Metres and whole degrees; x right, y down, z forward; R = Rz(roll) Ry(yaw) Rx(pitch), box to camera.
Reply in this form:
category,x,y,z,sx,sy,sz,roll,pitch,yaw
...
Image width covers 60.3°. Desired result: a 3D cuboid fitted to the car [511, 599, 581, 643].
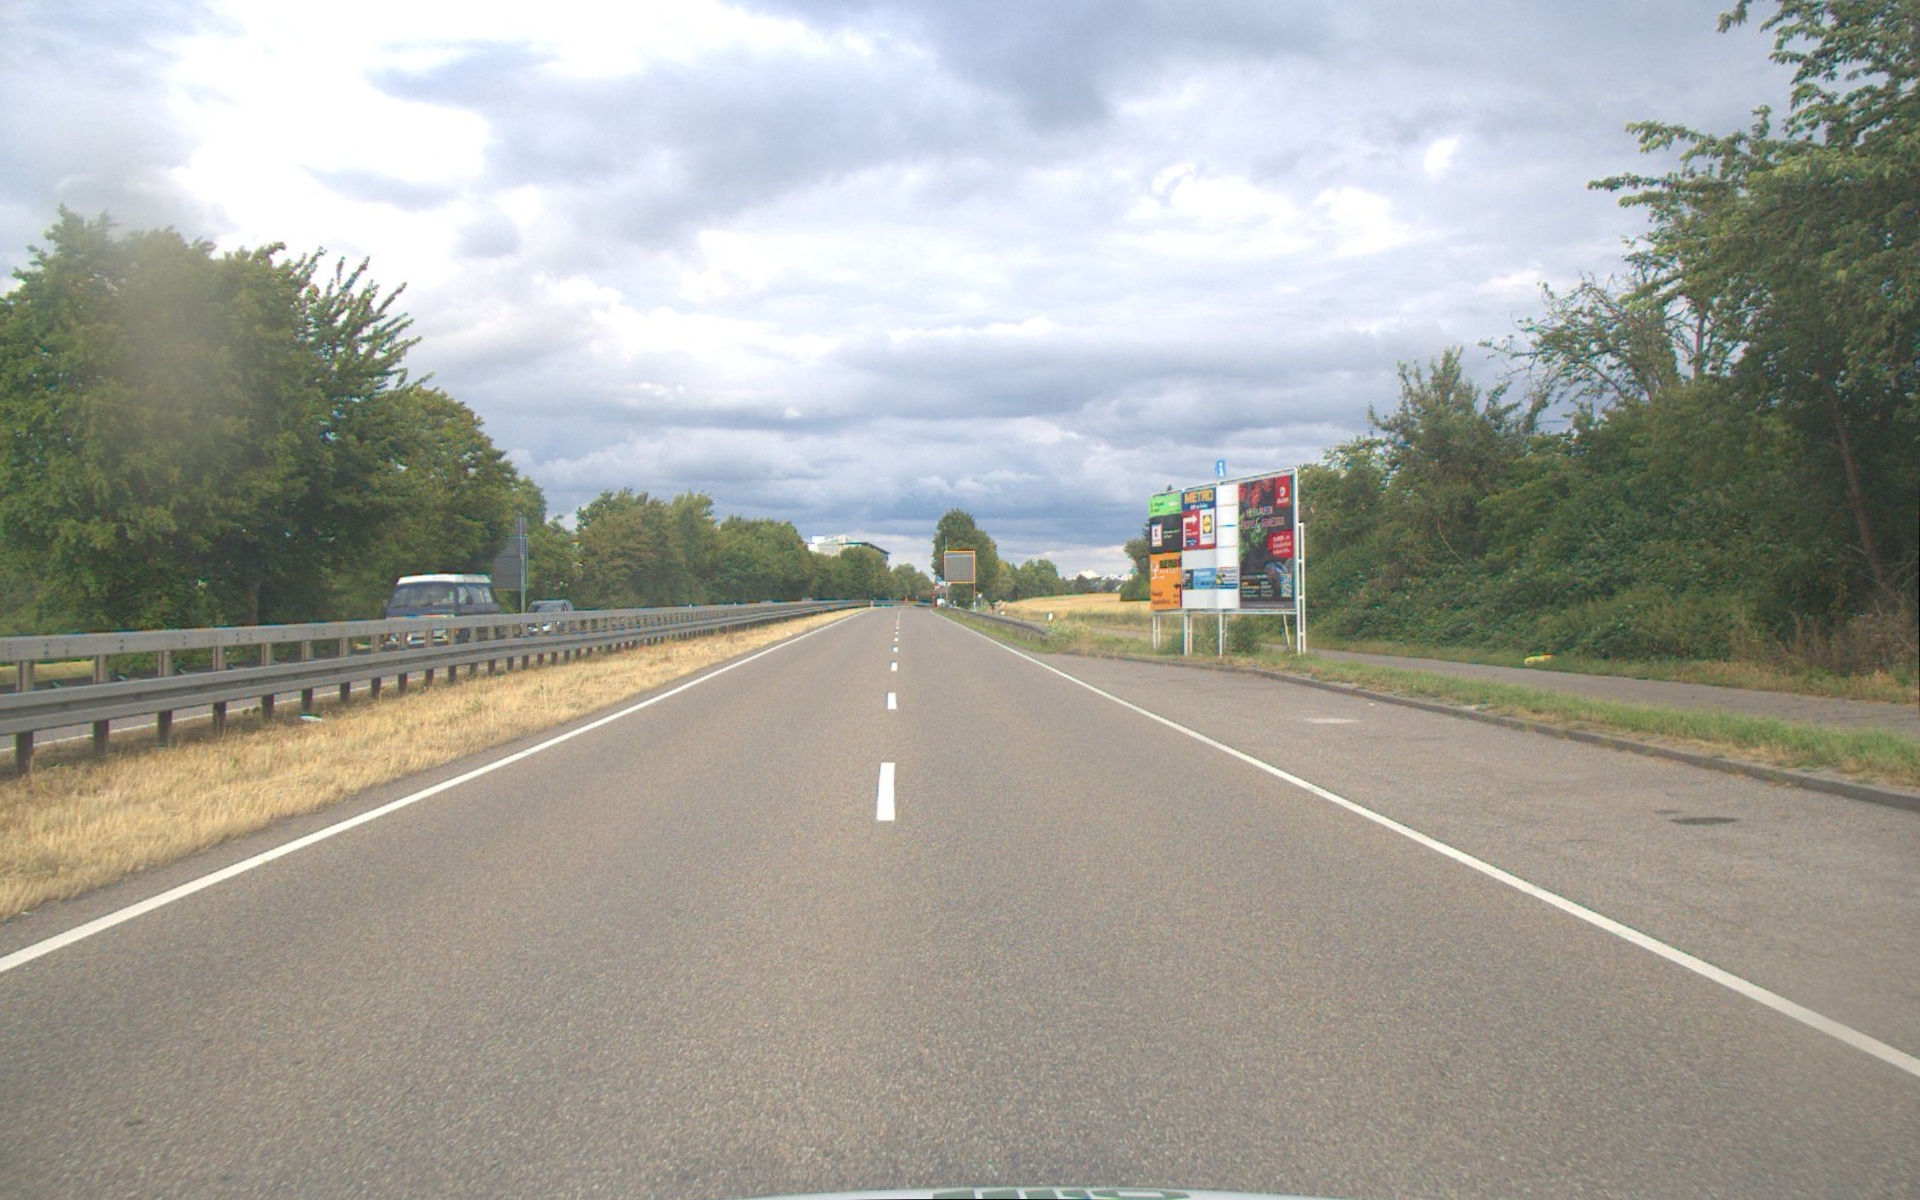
category,x,y,z,sx,sy,sz,roll,pitch,yaw
car,-16.924,0.826,67.779,1.761,1.654,4.482,-2,0,-1

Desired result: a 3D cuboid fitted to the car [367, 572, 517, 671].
category,x,y,z,sx,sy,sz,roll,pitch,yaw
car,-12.409,0.485,40.014,1.953,2.178,5.318,-2,0,-1
